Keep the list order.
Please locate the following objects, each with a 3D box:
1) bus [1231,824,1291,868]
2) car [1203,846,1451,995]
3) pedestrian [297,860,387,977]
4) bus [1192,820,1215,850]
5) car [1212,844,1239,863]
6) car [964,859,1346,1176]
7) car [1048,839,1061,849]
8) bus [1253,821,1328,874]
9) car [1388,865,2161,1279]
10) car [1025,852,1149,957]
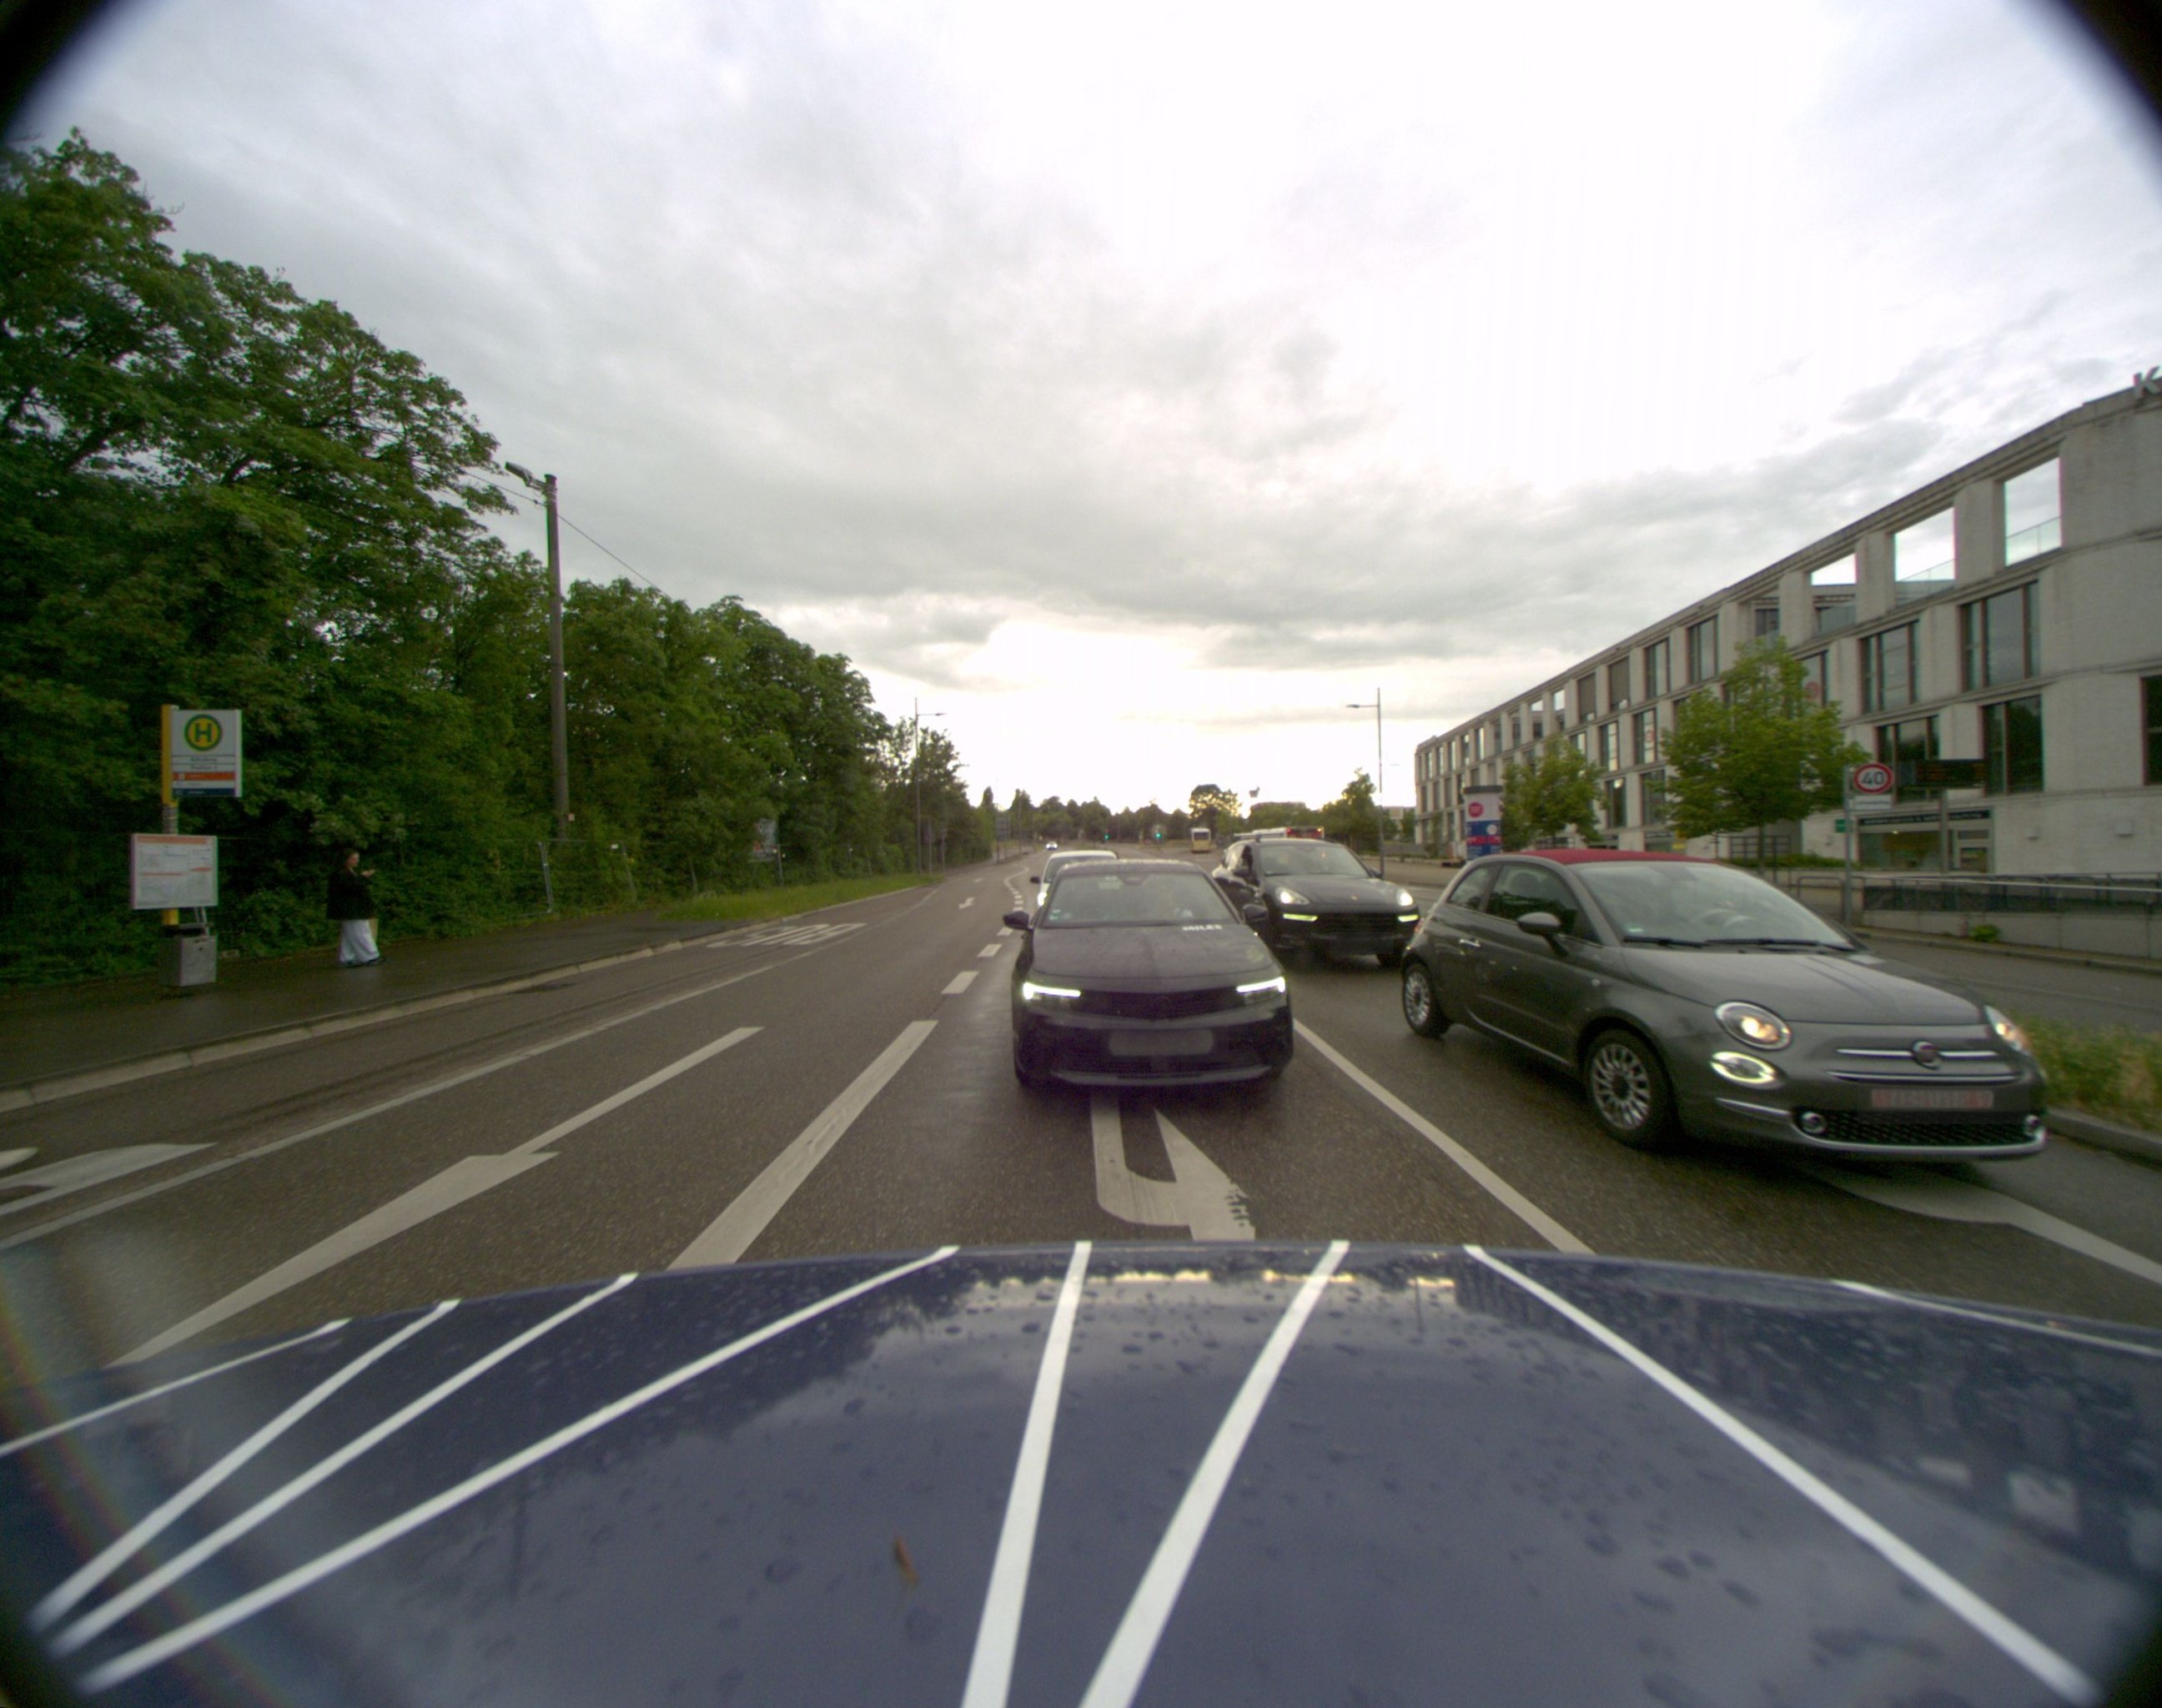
[{"bbox_3d":[14.271,-0.637,60.915,2.693,3.163,9.912,-2,1,2],"label":"bus"},{"bbox_3d":[3.141,0.719,10.835,1.934,1.649,4.616,-1,1,-2],"label":"car"},{"bbox_3d":[-10.615,0.903,10.932,0.588,1.619,0.661,-1,1,1],"label":"pedestrian"},{"bbox_3d":[18.692,-2.817,114.943,2.757,4.130,19.359,-2,1,11],"label":"bus"},{"bbox_3d":[13.760,-0.079,72.475,1.867,1.777,3.999,-2,1,1],"label":"car"},{"bbox_3d":[0.414,0.856,6.247,1.901,1.456,4.767,-2,1,1],"label":"car"},{"bbox_3d":[-5.247,-2.028,150.159,2.000,1.805,3.996,-2,1,-10],"label":"car"},{"bbox_3d":[13.960,-0.458,51.411,2.759,3.194,9.207,-2,1,2],"label":"bus"},{"bbox_3d":[3.441,0.854,4.654,1.631,1.473,3.505,-1,1,-2],"label":"car"},{"bbox_3d":[0.161,0.784,14.302,1.901,1.524,4.767,-2,1,2],"label":"car"}]
